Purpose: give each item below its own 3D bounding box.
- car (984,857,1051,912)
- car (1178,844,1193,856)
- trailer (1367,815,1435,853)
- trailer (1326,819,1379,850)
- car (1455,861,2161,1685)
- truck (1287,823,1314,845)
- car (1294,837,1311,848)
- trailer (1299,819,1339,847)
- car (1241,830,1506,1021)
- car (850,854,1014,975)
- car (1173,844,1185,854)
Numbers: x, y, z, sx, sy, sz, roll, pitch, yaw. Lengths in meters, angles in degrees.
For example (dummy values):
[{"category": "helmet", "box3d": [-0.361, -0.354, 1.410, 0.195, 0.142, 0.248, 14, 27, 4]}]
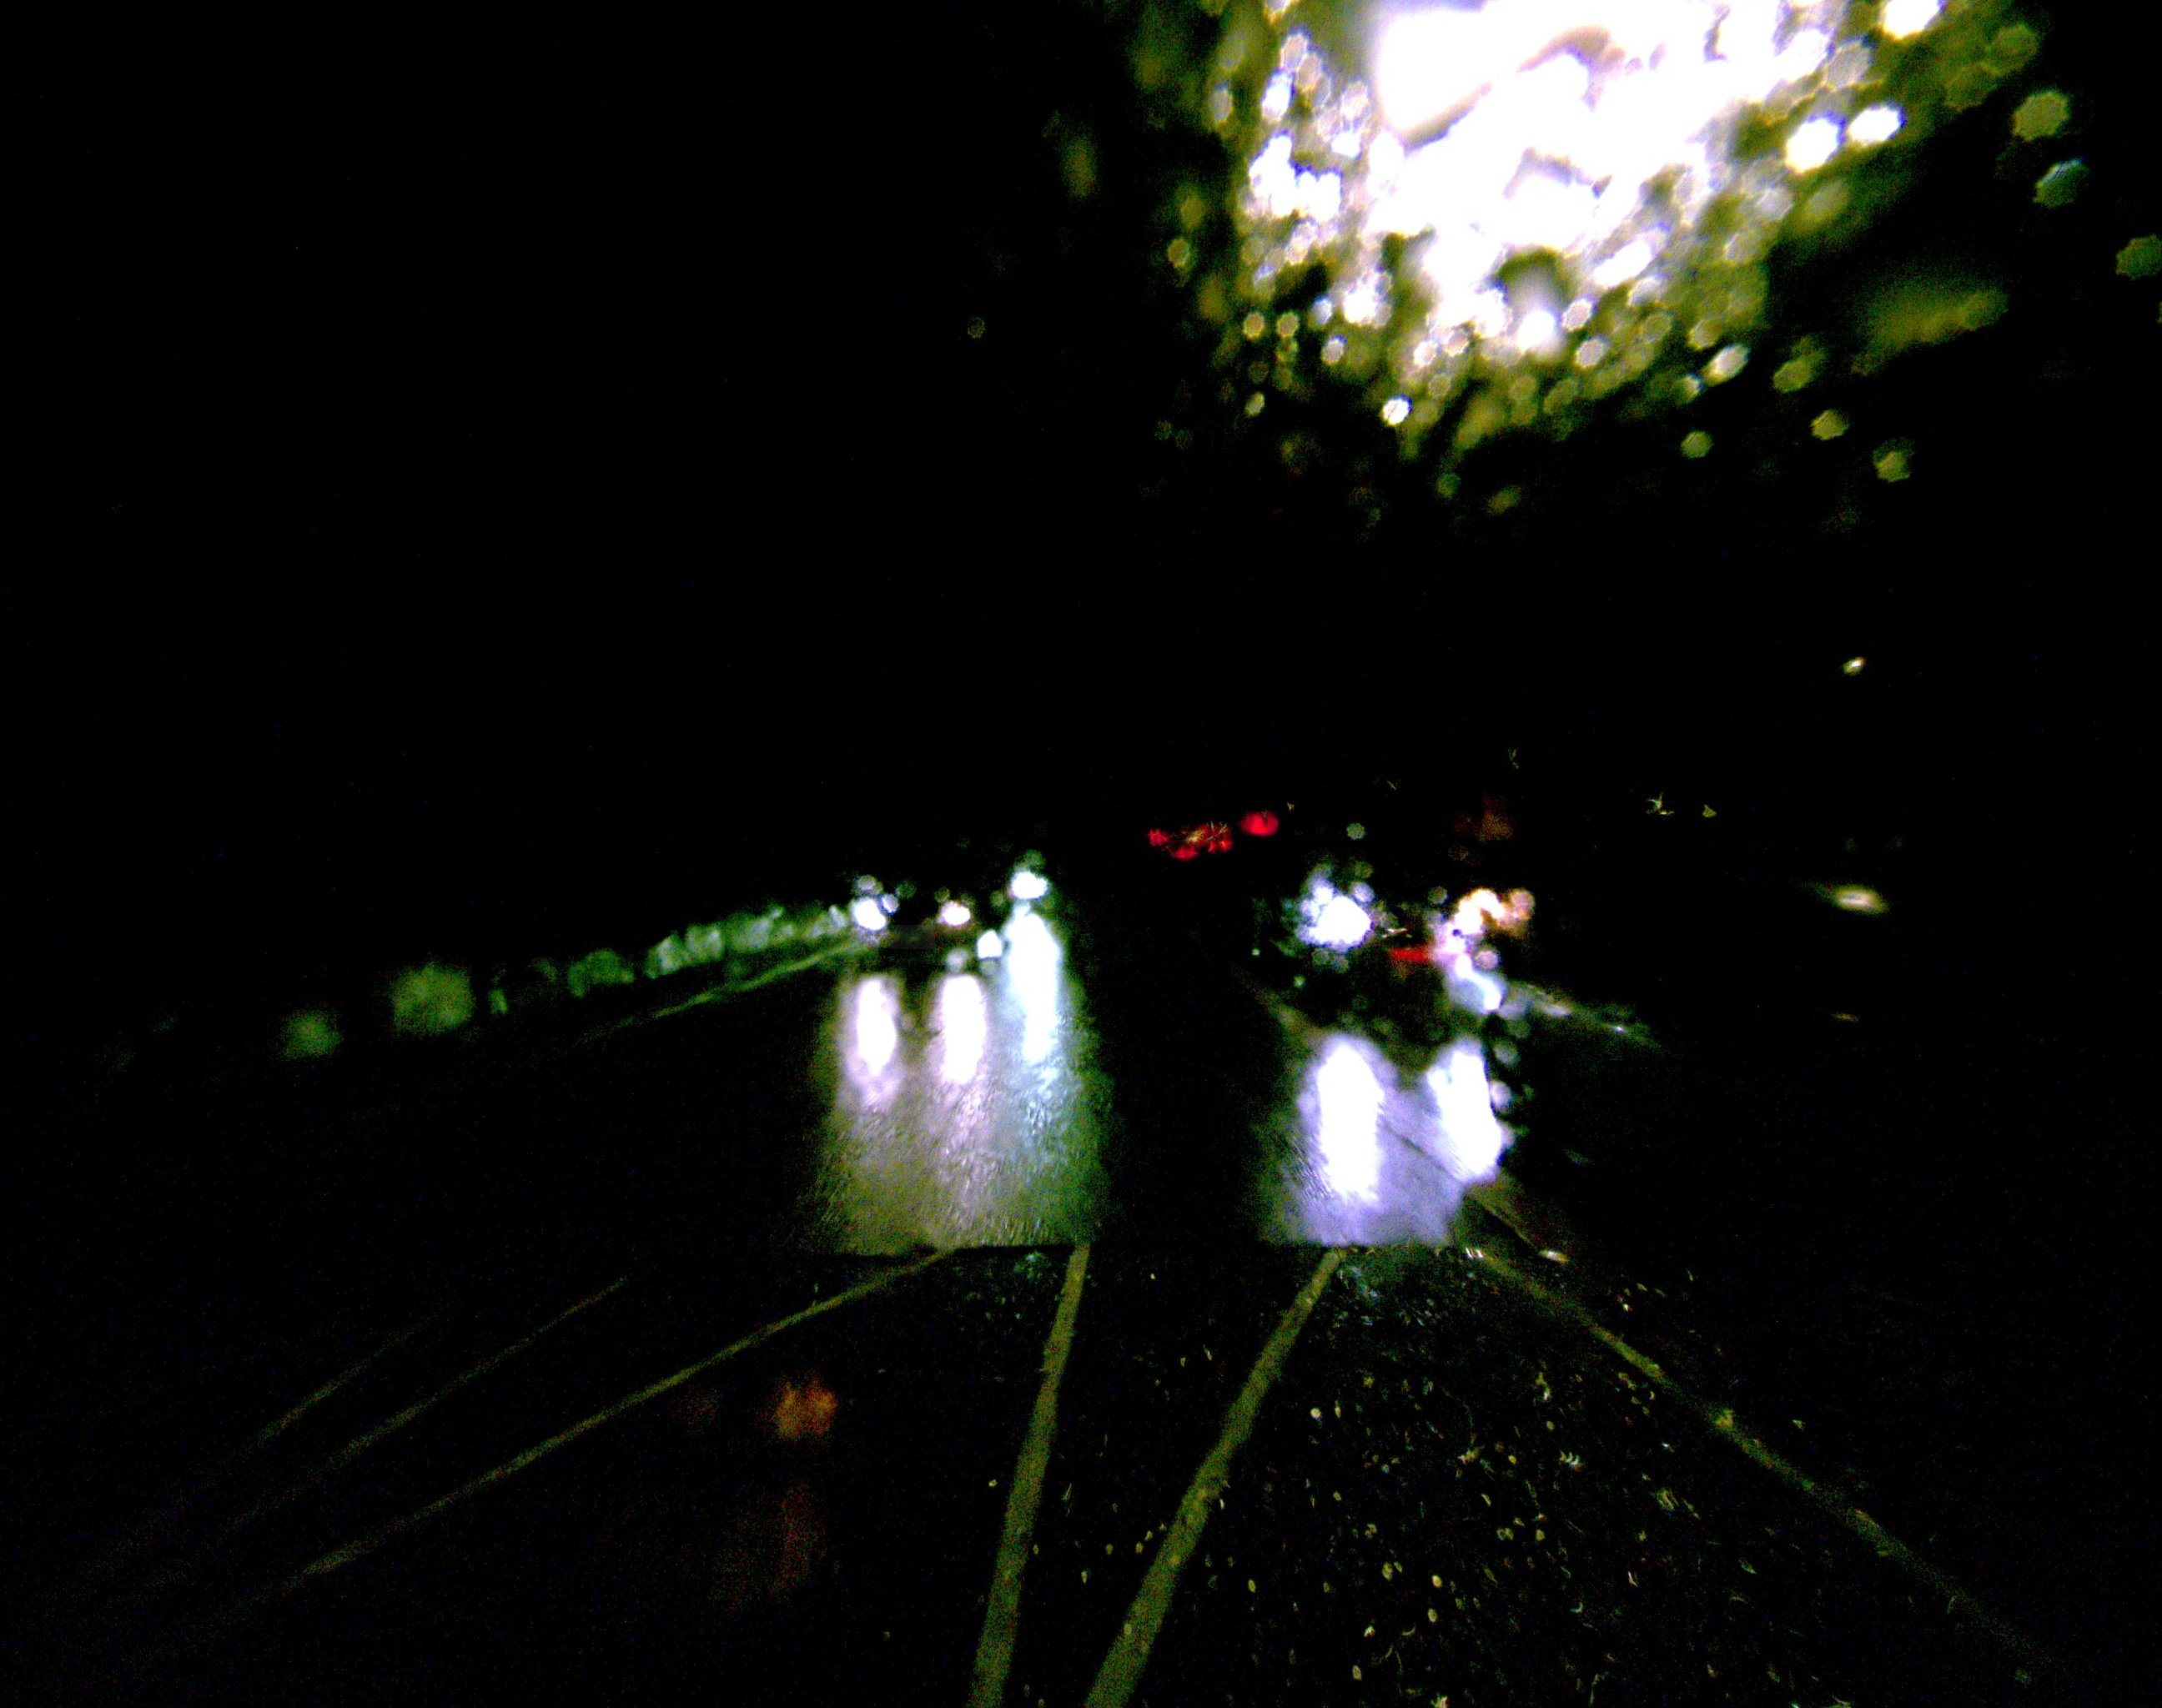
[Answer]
[{"category": "car", "box3d": [-2.099, 0.968, 26.236, 1.788, 1.638, 4.436, -3, 0, 1]}, {"category": "car", "box3d": [16.512, -0.641, 120.397, 1.765, 1.632, 4.652, -3, 0, 2]}, {"category": "trailer", "box3d": [43.870, -2.773, 104.860, 3.980, 4.583, 14.249, -6, 1, 5]}, {"category": "trailer", "box3d": [45.101, -3.264, 126.848, 3.980, 4.583, 15.516, -6, 1, 5]}, {"category": "car", "box3d": [2.980, 0.818, 2.175, 1.788, 1.502, 4.436, -1, 0, 2]}, {"category": "truck", "box3d": [48.948, -4.503, 169.899, 3.446, 4.584, 10.213, -6, 1, 5]}, {"category": "car", "box3d": [37.392, -1.946, 128.246, 1.790, 1.684, 4.219, -4, 0, 4]}, {"category": "trailer", "box3d": [47.697, -4.306, 152.811, 3.980, 4.984, 14.836, -6, 1, 5]}, {"category": "car", "box3d": [3.253, 0.679, 9.462, 1.788, 1.771, 4.437, -2, 0, 4]}, {"category": "car", "box3d": [-2.385, 0.895, 13.286, 1.790, 1.684, 4.219, -2, 0, 3]}, {"category": "car", "box3d": [18.110, -0.922, 140.395, 1.806, 1.579, 4.031, -3, 1, 2]}]
